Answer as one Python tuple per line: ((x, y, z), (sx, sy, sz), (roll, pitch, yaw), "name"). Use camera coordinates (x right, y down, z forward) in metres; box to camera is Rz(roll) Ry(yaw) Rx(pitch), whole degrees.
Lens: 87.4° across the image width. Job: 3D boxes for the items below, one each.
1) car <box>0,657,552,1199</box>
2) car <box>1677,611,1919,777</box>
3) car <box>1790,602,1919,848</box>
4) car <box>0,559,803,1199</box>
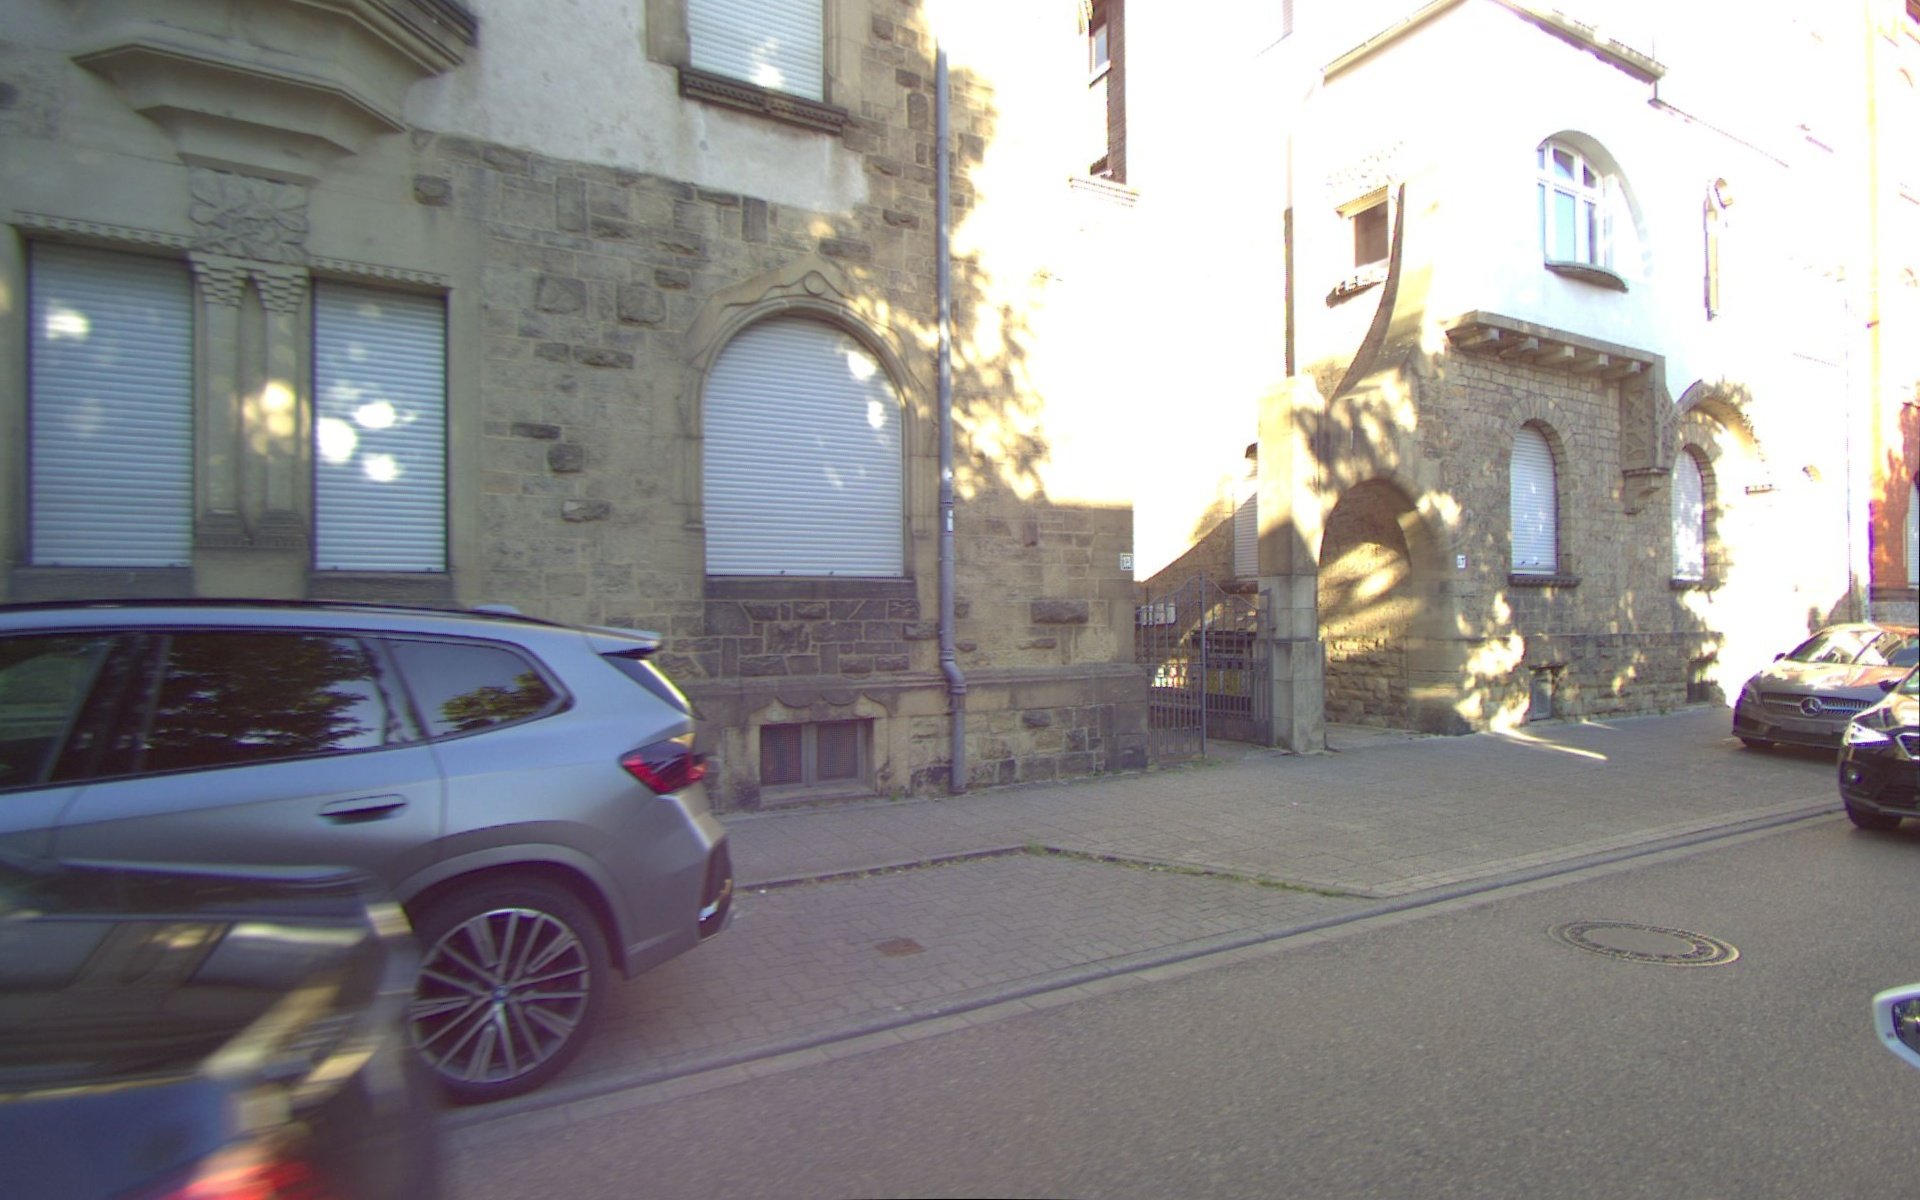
((-2.689, 0.803, 0.593), (4.330, 1.505, 1.888), (2, -3, -30), "car")
((10.330, 0.958, 11.626), (4.066, 1.538, 1.746), (1, 2, -30), "car")
((8.182, 0.837, 7.471), (4.042, 1.620, 1.759), (1, -4, -30), "car")
((-2.955, 0.741, 3.458), (4.347, 1.643, 2.039), (1, -2, -32), "car")
